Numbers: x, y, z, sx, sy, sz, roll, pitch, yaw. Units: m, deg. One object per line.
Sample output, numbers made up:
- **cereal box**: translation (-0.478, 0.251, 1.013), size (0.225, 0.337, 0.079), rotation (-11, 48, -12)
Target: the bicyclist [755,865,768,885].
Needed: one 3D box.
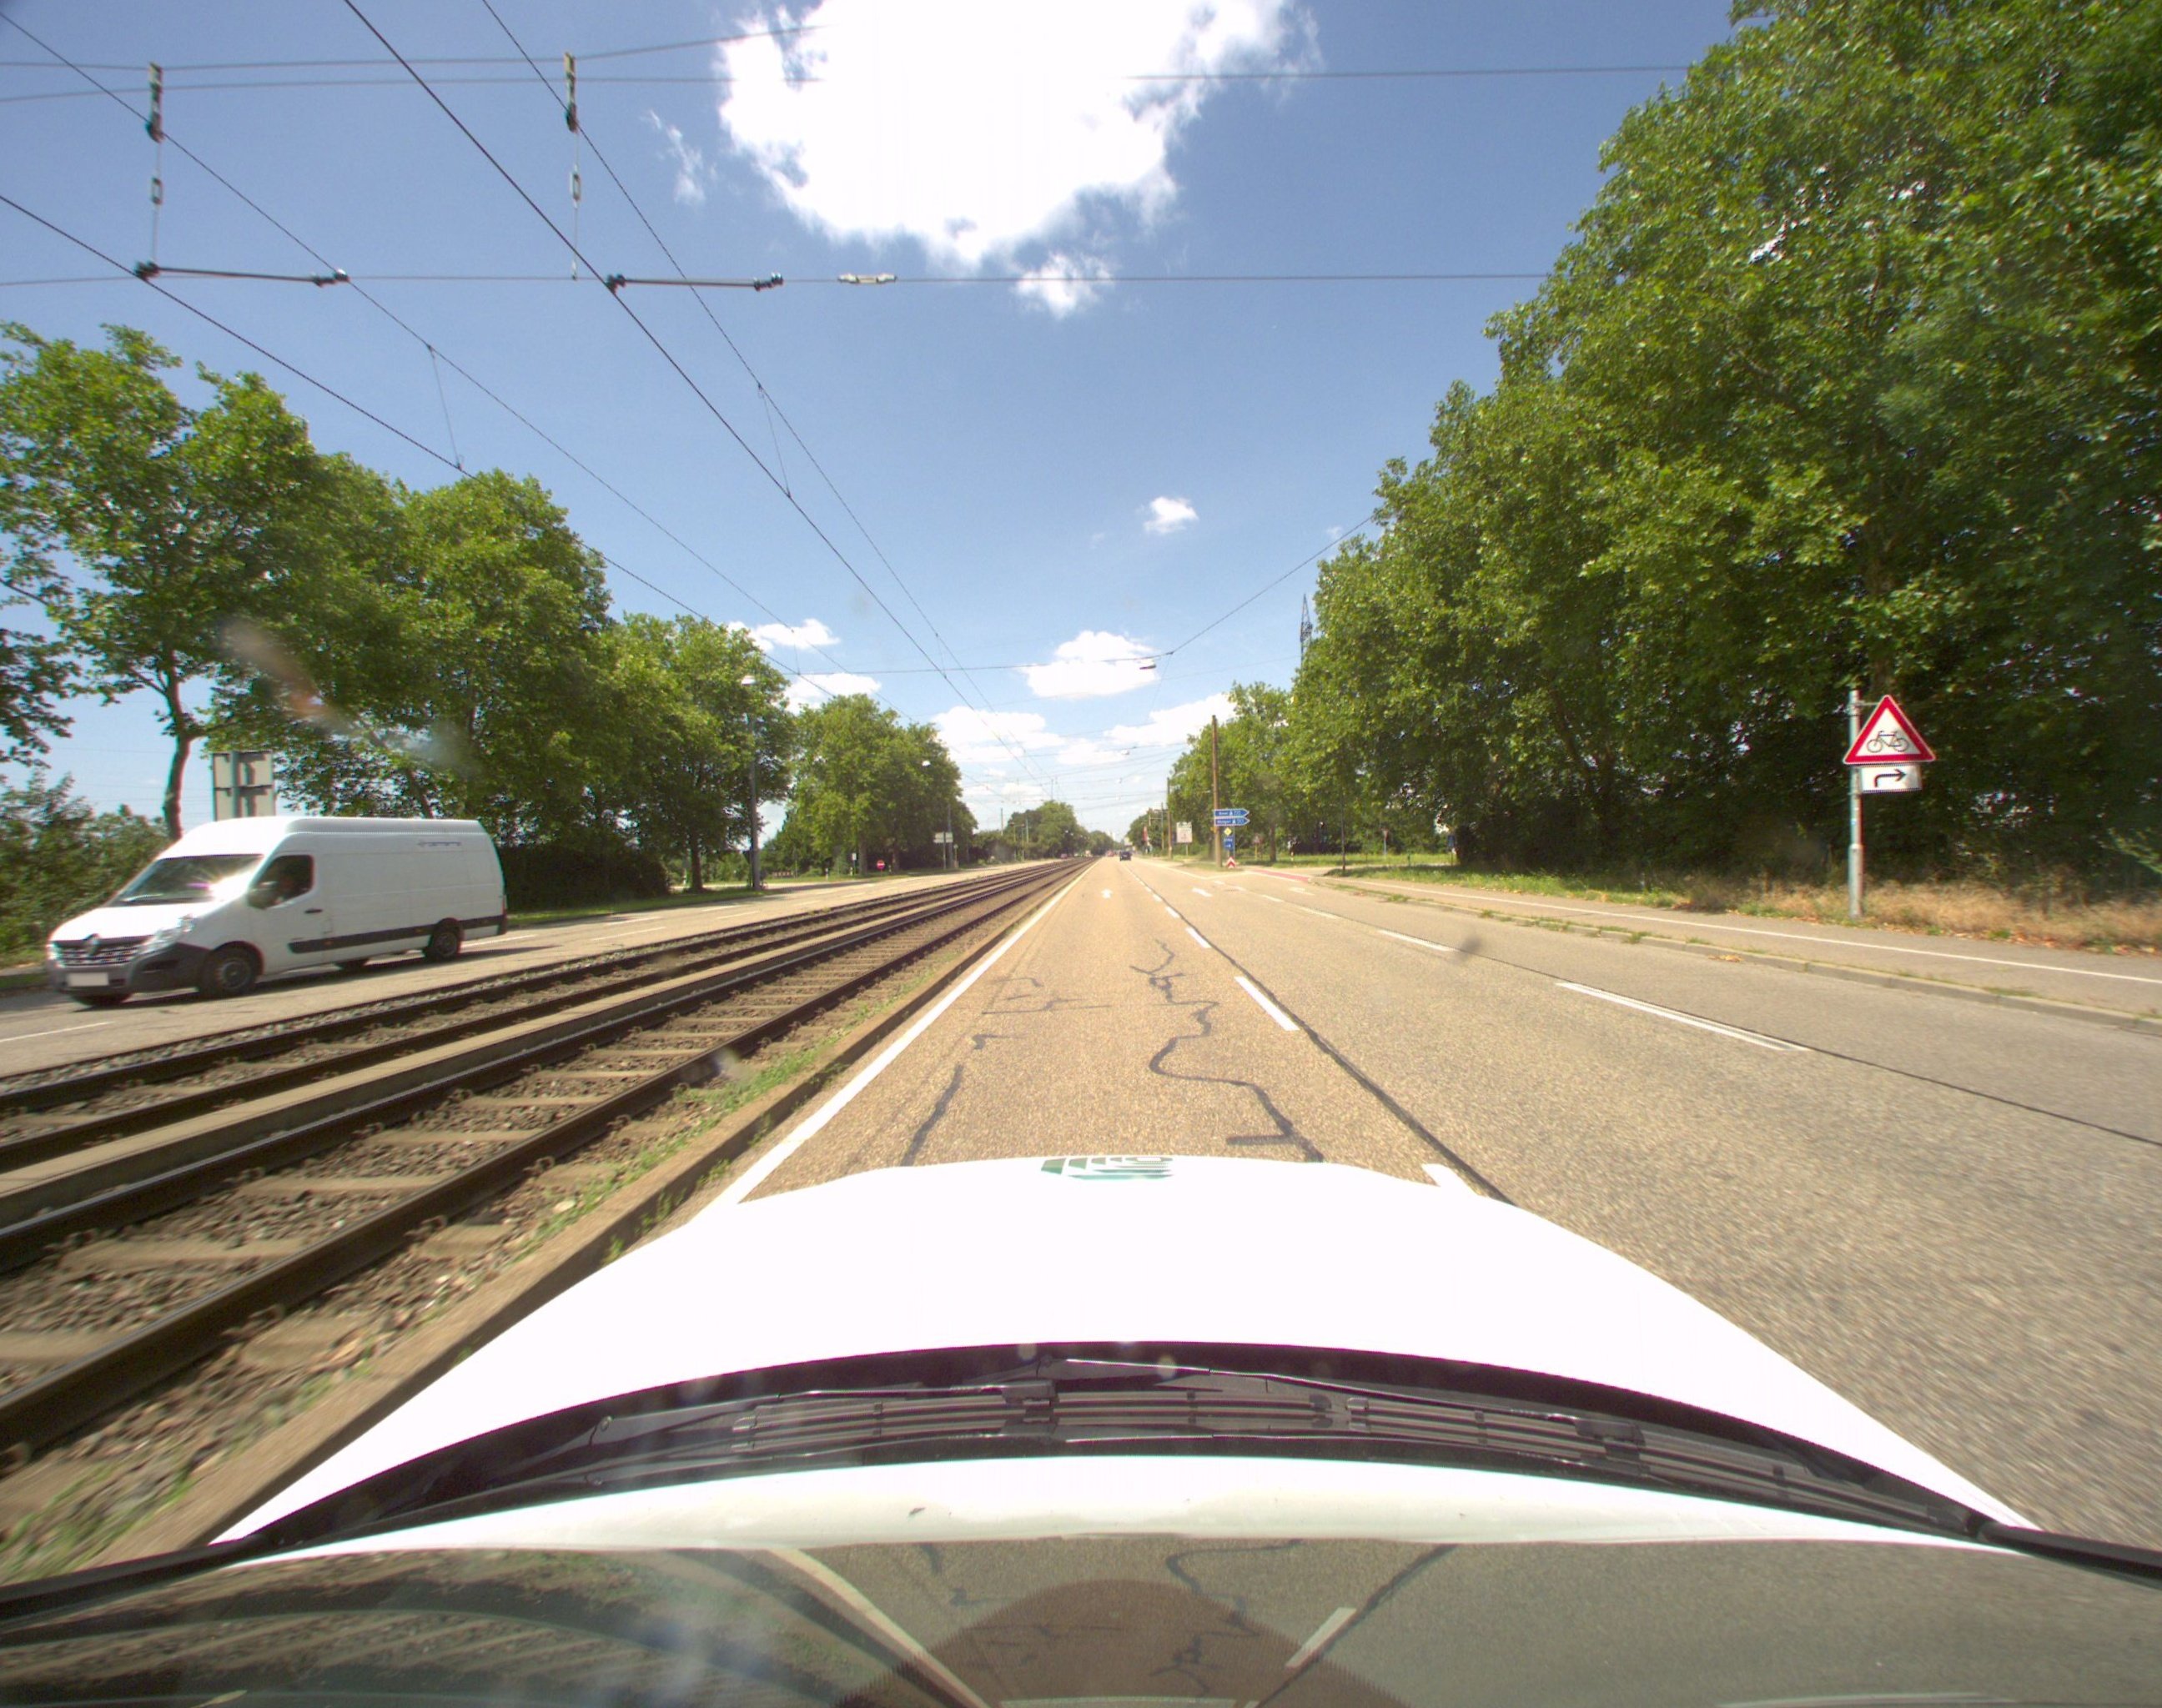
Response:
- **bicyclist**: translation (-23.083, 1.514, 58.850), size (0.581, 1.429, 0.648), rotation (-2, 0, 15)

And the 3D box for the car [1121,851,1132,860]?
- **car**: translation (7.252, 0.243, 130.587), size (1.580, 1.343, 3.272), rotation (-2, 1, 0)

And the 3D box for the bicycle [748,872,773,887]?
- **bicycle**: translation (-23.101, 1.865, 58.754), size (0.726, 0.988, 1.768), rotation (-2, 0, 14)

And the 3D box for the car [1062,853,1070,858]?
- **car**: translation (-4.465, 0.498, 240.537), size (1.867, 1.332, 3.920), rotation (-3, 0, 2)

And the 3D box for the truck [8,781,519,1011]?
- **truck**: translation (-12.988, 0.540, 13.918), size (2.046, 2.938, 6.322), rotation (-3, 0, 2)
